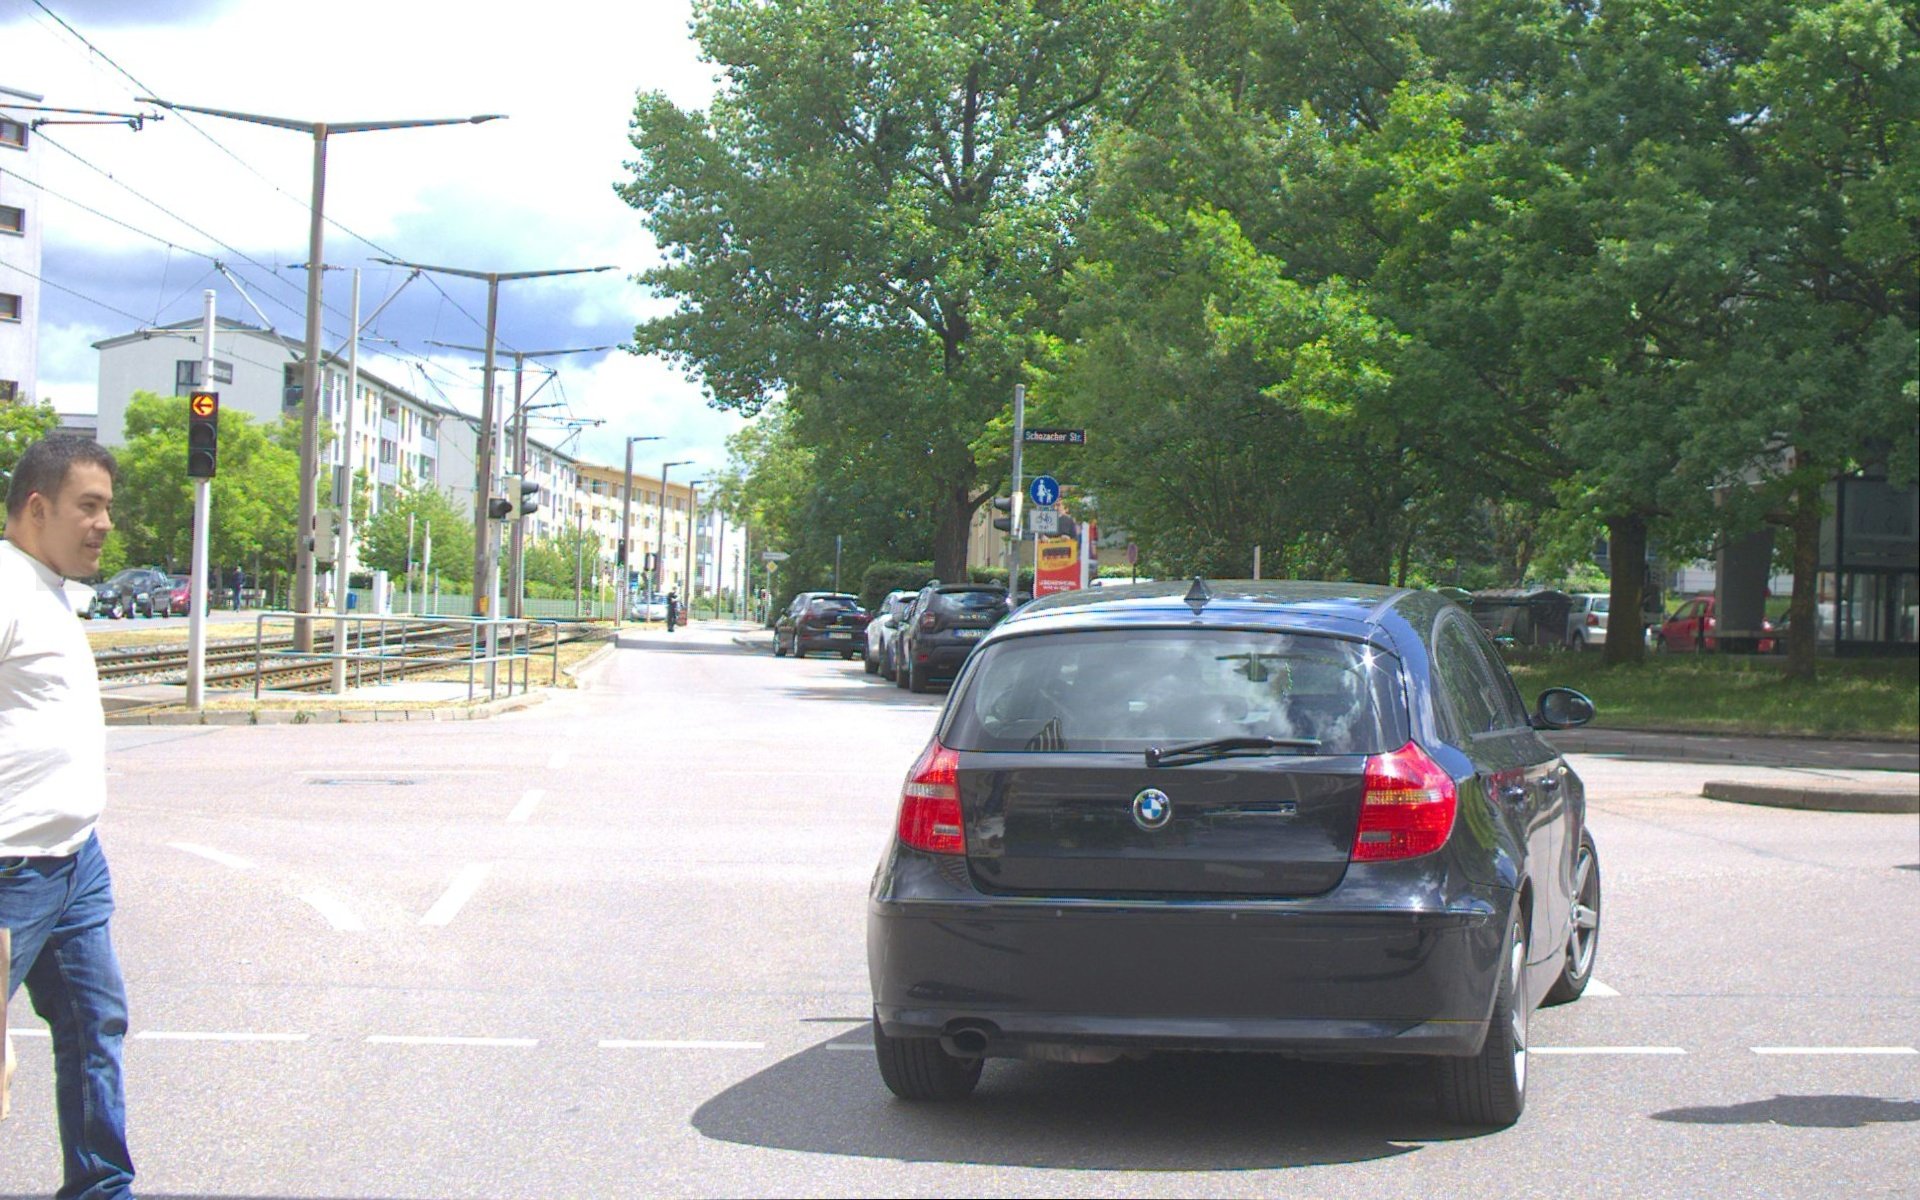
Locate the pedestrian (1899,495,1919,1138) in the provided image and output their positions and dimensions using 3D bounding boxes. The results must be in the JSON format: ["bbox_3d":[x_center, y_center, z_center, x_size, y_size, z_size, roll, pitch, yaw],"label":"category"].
[{"bbox_3d":[3.020,0.557,9.219,0.953,1.668,0.870,0,0,15],"label":"pedestrian"}]

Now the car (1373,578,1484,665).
[{"bbox_3d":[10.277,0.444,75.679,1.630,1.804,4.033,1,1,-4],"label":"car"}]

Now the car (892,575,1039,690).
[{"bbox_3d":[0.062,0.486,53.011,2.152,1.678,4.000,1,0,-1],"label":"car"}]

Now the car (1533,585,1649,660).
[{"bbox_3d":[14.264,0.499,77.867,1.630,1.589,4.001,1,1,-4],"label":"car"}]

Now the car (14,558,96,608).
[{"bbox_3d":[-26.218,-0.504,99.713,1.760,1.390,4.001,1,1,-7],"label":"car"}]

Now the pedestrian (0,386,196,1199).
[{"bbox_3d":[-2.063,0.479,6.990,0.868,1.802,0.742,1,1,-4],"label":"pedestrian"}]

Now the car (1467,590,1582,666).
[{"bbox_3d":[12.528,0.607,76.479,1.630,1.567,4.033,1,1,-4],"label":"car"}]

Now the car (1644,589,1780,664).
[{"bbox_3d":[17.072,0.572,78.212,1.730,1.589,4.001,1,1,-8],"label":"car"}]

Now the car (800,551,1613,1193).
[{"bbox_3d":[0.939,0.616,10.258,1.753,1.482,3.998,1,1,14],"label":"car"}]

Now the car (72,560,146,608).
[{"bbox_3d":[-26.293,-0.511,106.306,1.760,1.390,4.001,1,1,-7],"label":"car"}]

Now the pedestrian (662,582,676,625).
[{"bbox_3d":[-11.148,0.117,131.582,0.478,1.631,0.454,1,1,-1],"label":"pedestrian"}]

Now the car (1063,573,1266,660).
[{"bbox_3d":[4.426,0.359,74.531,3.986,1.817,1.779,1,1,-23],"label":"car"}]

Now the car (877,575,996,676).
[{"bbox_3d":[-0.422,0.441,60.458,1.993,1.678,4.000,1,0,-1],"label":"car"}]

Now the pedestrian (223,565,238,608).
[{"bbox_3d":[-27.709,-0.502,130.613,0.452,1.631,0.480,1,1,-3],"label":"pedestrian"}]

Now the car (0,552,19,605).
[{"bbox_3d":[-26.433,-0.595,92.122,1.760,1.390,4.001,1,1,-7],"label":"car"}]

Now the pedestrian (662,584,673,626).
[{"bbox_3d":[-11.197,0.192,131.693,0.333,1.622,0.358,1,1,-18],"label":"pedestrian"}]

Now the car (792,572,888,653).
[{"bbox_3d":[-2.611,0.249,75.775,1.993,1.678,4.000,1,1,-1],"label":"car"}]
